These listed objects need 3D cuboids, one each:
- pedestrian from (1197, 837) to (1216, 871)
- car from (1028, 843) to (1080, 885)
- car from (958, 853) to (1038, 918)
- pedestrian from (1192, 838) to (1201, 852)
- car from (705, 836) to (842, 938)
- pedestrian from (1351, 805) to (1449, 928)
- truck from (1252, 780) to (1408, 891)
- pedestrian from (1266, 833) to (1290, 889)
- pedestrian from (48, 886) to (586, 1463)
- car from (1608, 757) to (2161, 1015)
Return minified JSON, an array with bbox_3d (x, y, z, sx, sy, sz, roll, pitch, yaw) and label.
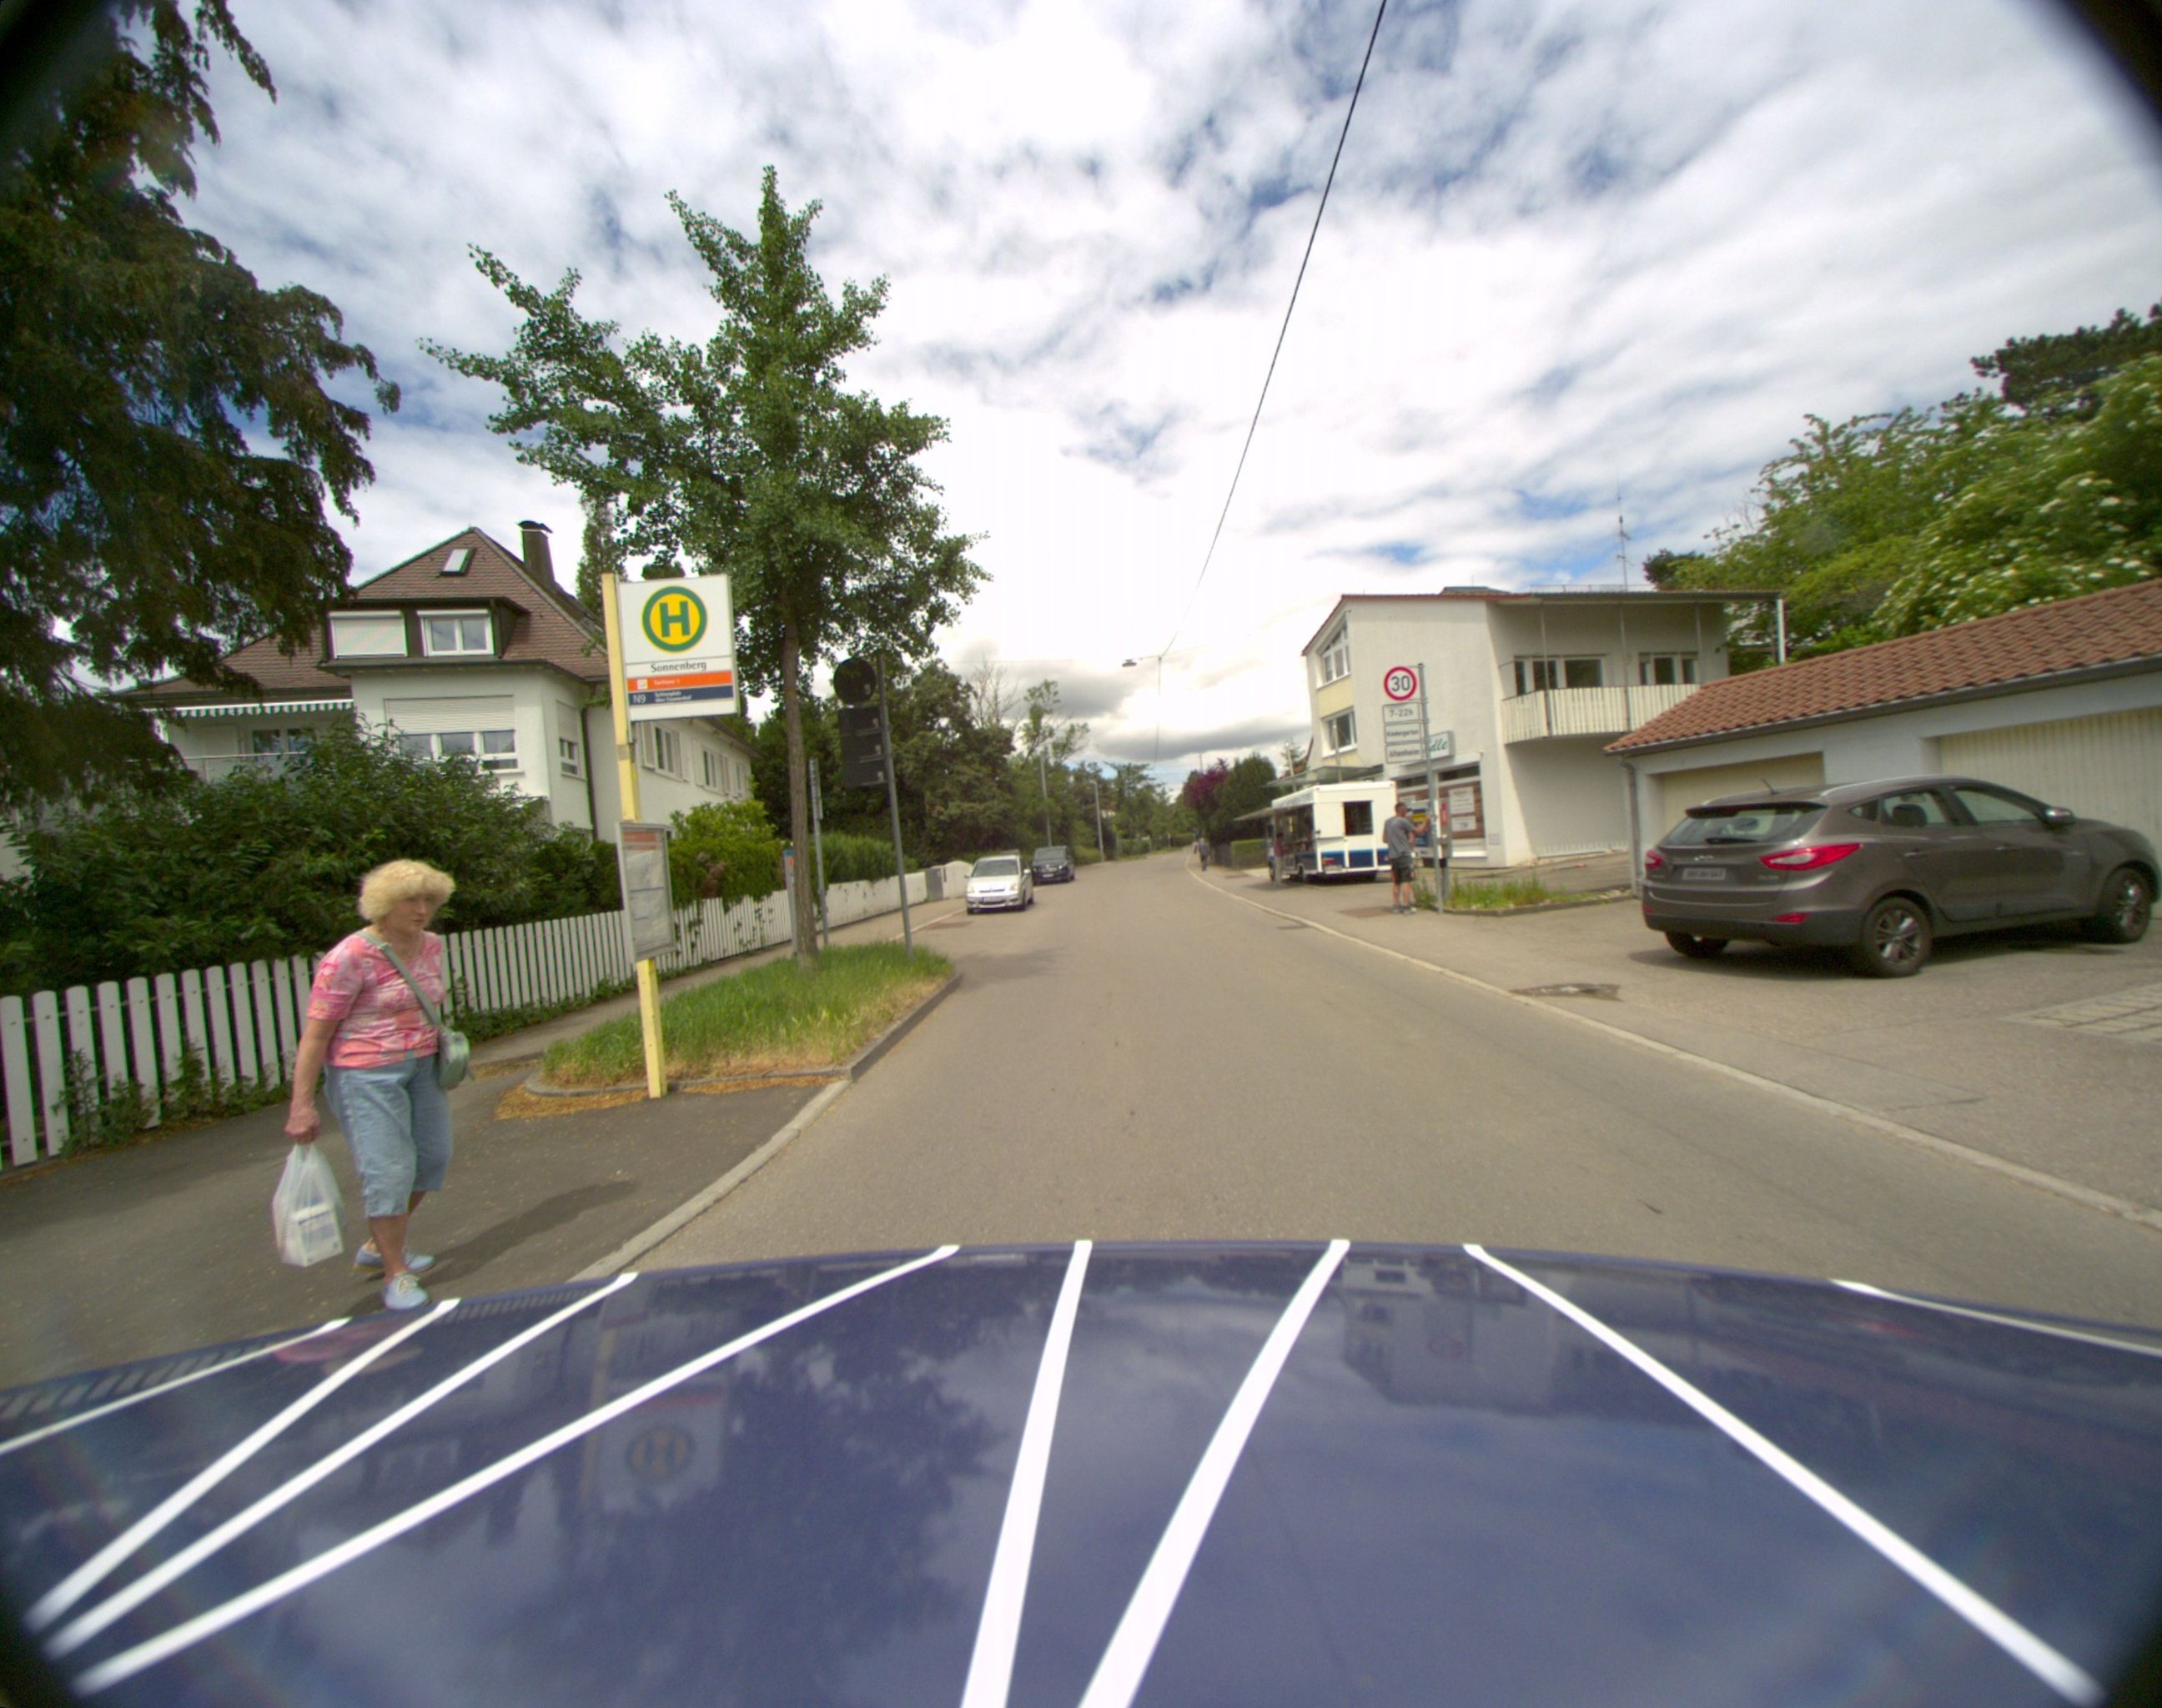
[{"bbox_3d":[6.726,-0.027,40.838,0.724,1.678,1.109,-6,4,5],"label":"pedestrian"},{"bbox_3d":[-1.303,0.457,38.886,1.913,1.838,5.158,-5,1,5],"label":"car"},{"bbox_3d":[-2.334,0.847,22.416,1.763,1.573,4.018,-3,1,1],"label":"car"},{"bbox_3d":[14.386,-1.130,94.693,0.821,1.734,0.604,-6,1,11],"label":"pedestrian"},{"bbox_3d":[-9.643,0.950,24.434,2.505,2.666,5.183,-7,1,-7],"label":"car"},{"bbox_3d":[5.486,0.204,13.119,1.216,1.935,0.735,-7,1,5],"label":"pedestrian"},{"bbox_3d":[7.517,-0.540,23.972,2.479,2.824,6.706,-5,1,0],"label":"truck"},{"bbox_3d":[6.107,0.208,23.606,0.402,1.685,0.597,-7,1,-1],"label":"pedestrian"},{"bbox_3d":[-2.561,0.988,2.704,0.856,1.636,0.884,-4,1,2],"label":"pedestrian"},{"bbox_3d":[7.778,0.204,7.310,4.325,1.686,1.796,-7,1,-10],"label":"car"}]
